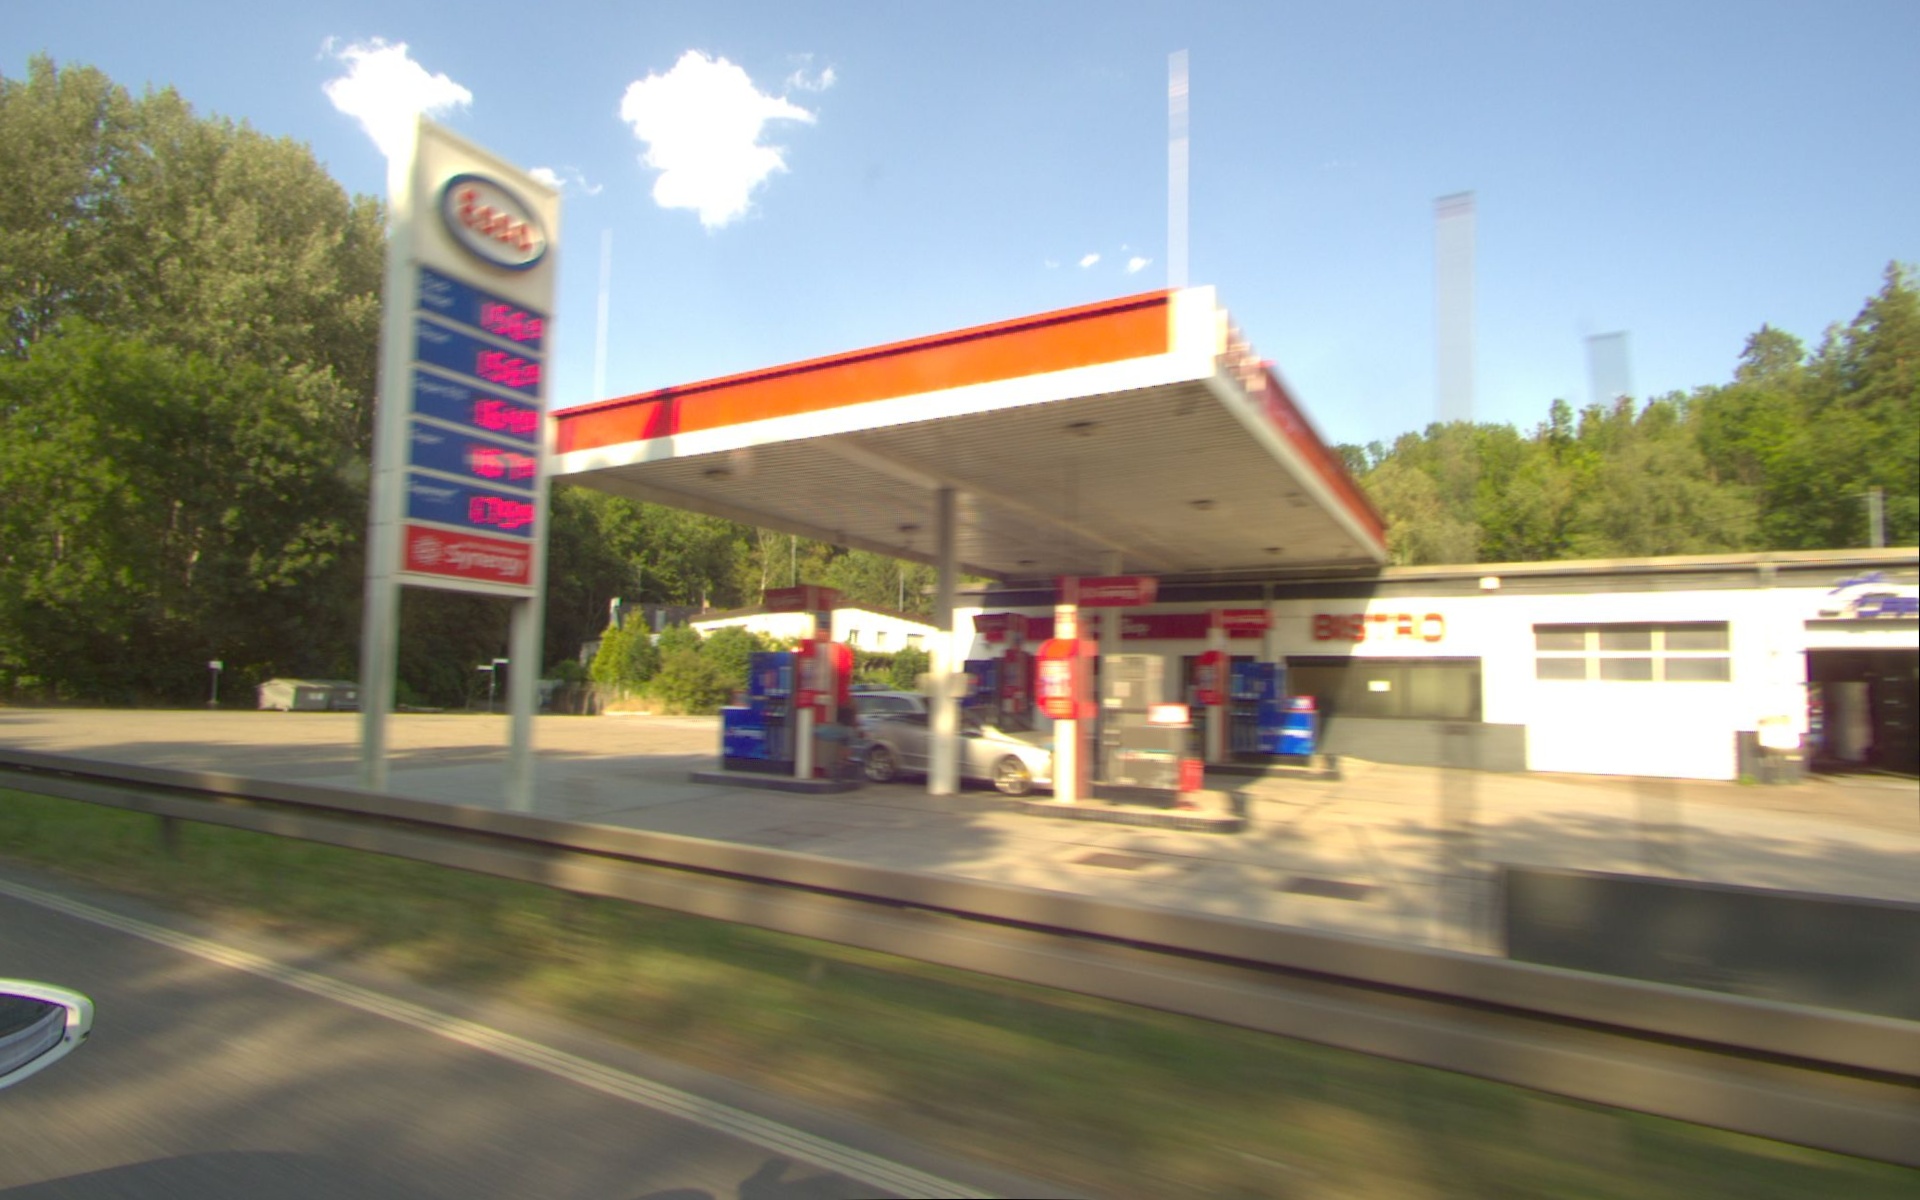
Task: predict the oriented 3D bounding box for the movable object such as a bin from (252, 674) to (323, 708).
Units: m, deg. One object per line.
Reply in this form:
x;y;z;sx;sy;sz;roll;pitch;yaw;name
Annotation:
-30.553;4.128;45.487;2.510;1.436;1.271;0;-6;16;movable object such as a bin

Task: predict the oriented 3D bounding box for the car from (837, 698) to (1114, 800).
0.220;2.412;16.880;4.325;1.335;1.841;-1;-4;31;car

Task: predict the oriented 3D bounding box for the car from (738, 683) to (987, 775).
-2.154;2.710;21.782;5.102;1.647;2.092;-1;-4;30;car

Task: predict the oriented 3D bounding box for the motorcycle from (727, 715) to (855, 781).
-3.060;2.641;18.085;2.306;1.024;0.761;-1;-4;30;motorcycle
